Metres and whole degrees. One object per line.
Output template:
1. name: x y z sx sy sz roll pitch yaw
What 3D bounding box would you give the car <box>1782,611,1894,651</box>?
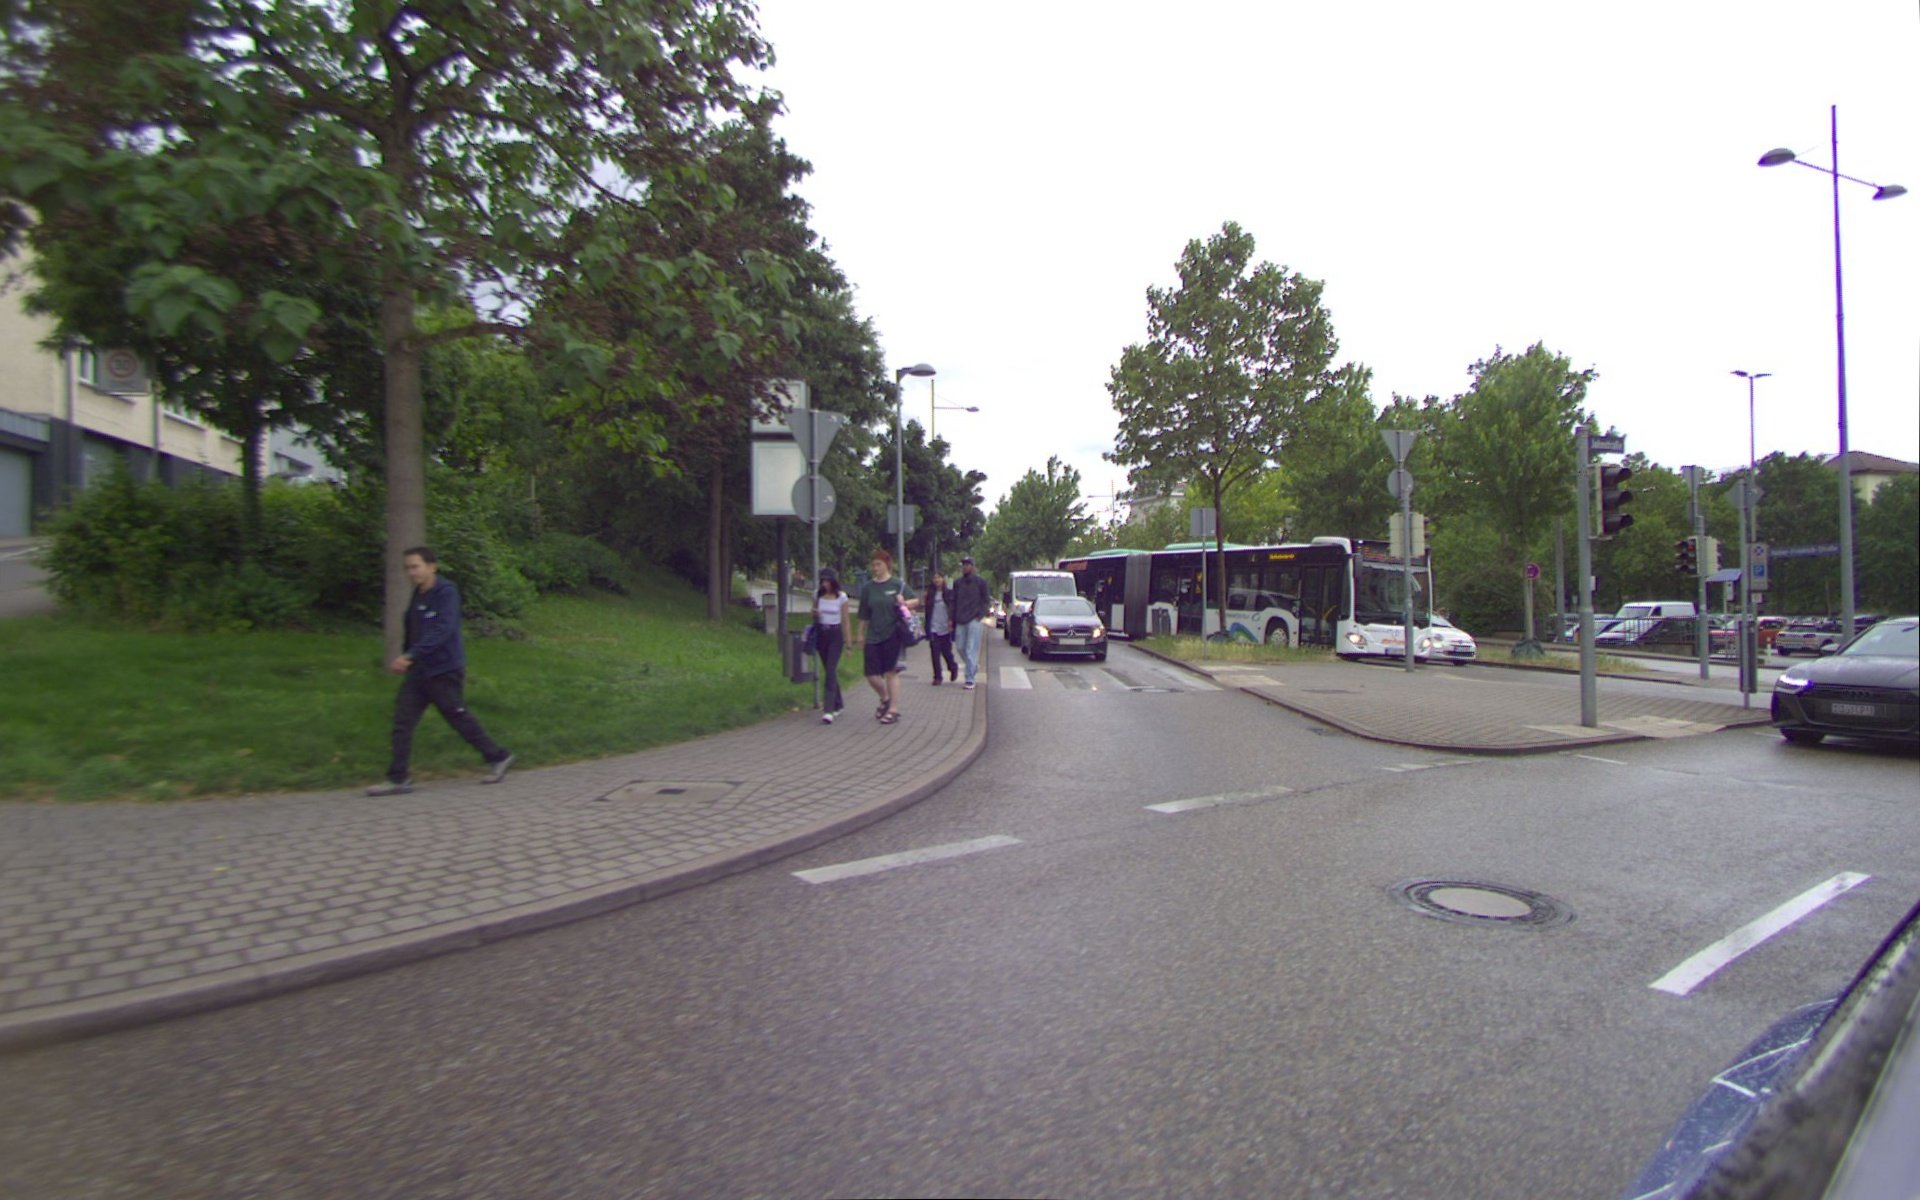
1. car: 37.074 1.311 42.735 4.088 1.611 1.766 1 0 -19

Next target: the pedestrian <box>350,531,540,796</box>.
1. pedestrian: -3.588 0.416 7.084 0.569 1.708 0.950 3 -1 37

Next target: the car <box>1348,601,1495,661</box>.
1. car: 12.256 0.801 27.111 1.556 1.470 3.576 2 -1 -18

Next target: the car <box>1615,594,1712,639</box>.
1. car: 38.778 0.896 55.776 4.907 2.349 1.977 1 0 -22

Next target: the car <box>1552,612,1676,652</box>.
1. car: 25.422 1.225 39.356 4.172 1.458 1.861 0 0 -19

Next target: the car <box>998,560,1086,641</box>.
1. car: 2.397 -0.045 31.297 2.213 2.262 6.342 0 1 0

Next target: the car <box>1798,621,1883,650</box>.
1. car: 40.542 1.617 46.601 3.284 1.252 1.536 1 0 -19

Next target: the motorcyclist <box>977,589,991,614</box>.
1. motorcyclist: 1.475 0.090 61.980 0.791 1.455 1.241 0 0 -1

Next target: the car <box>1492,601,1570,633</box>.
1. car: 35.072 1.046 62.160 4.272 1.853 1.838 1 0 -21

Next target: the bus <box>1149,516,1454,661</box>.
1. bus: 8.719 -0.317 27.689 2.648 3.257 9.680 1 1 -17

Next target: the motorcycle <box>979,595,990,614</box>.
1. motorcycle: 1.486 0.254 62.150 0.560 1.133 2.689 0 0 -1

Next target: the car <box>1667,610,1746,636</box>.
1. car: 38.815 1.190 52.632 3.556 1.252 1.536 1 0 -19

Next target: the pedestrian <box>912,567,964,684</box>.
1. pedestrian: -0.327 0.371 15.338 0.554 1.727 0.522 2 0 34

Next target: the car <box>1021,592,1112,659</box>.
1. car: 2.402 0.519 23.676 1.762 1.391 4.096 0 1 1

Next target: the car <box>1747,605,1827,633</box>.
1. car: 52.379 1.180 64.063 4.533 1.691 1.977 1 0 -22

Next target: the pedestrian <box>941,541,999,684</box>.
1. pedestrian: 0.156 0.171 14.907 0.581 2.039 0.782 2 0 19

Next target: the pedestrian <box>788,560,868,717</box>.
1. pedestrian: -1.412 0.386 10.906 0.594 1.619 0.703 2 2 16

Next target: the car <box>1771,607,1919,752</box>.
1. car: 11.291 0.802 11.337 4.272 1.422 1.900 0 0 -28

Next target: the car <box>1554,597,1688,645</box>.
1. car: 23.369 0.731 35.794 4.172 1.633 1.809 0 0 -19

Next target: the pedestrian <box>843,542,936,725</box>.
1. pedestrian: -0.743 0.331 10.765 0.733 1.852 0.690 3 1 18

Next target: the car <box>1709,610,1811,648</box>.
1. car: 36.022 1.296 45.589 3.915 1.611 1.766 1 0 -19

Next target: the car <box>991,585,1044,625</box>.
1. car: 2.465 0.218 44.682 1.961 1.673 4.876 0 0 -1

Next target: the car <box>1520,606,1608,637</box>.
1. car: 32.150 1.133 53.902 3.916 1.586 1.766 1 0 -15

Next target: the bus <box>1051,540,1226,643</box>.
1. bus: 6.101 -0.445 36.393 2.631 3.219 8.582 2 2 -16
